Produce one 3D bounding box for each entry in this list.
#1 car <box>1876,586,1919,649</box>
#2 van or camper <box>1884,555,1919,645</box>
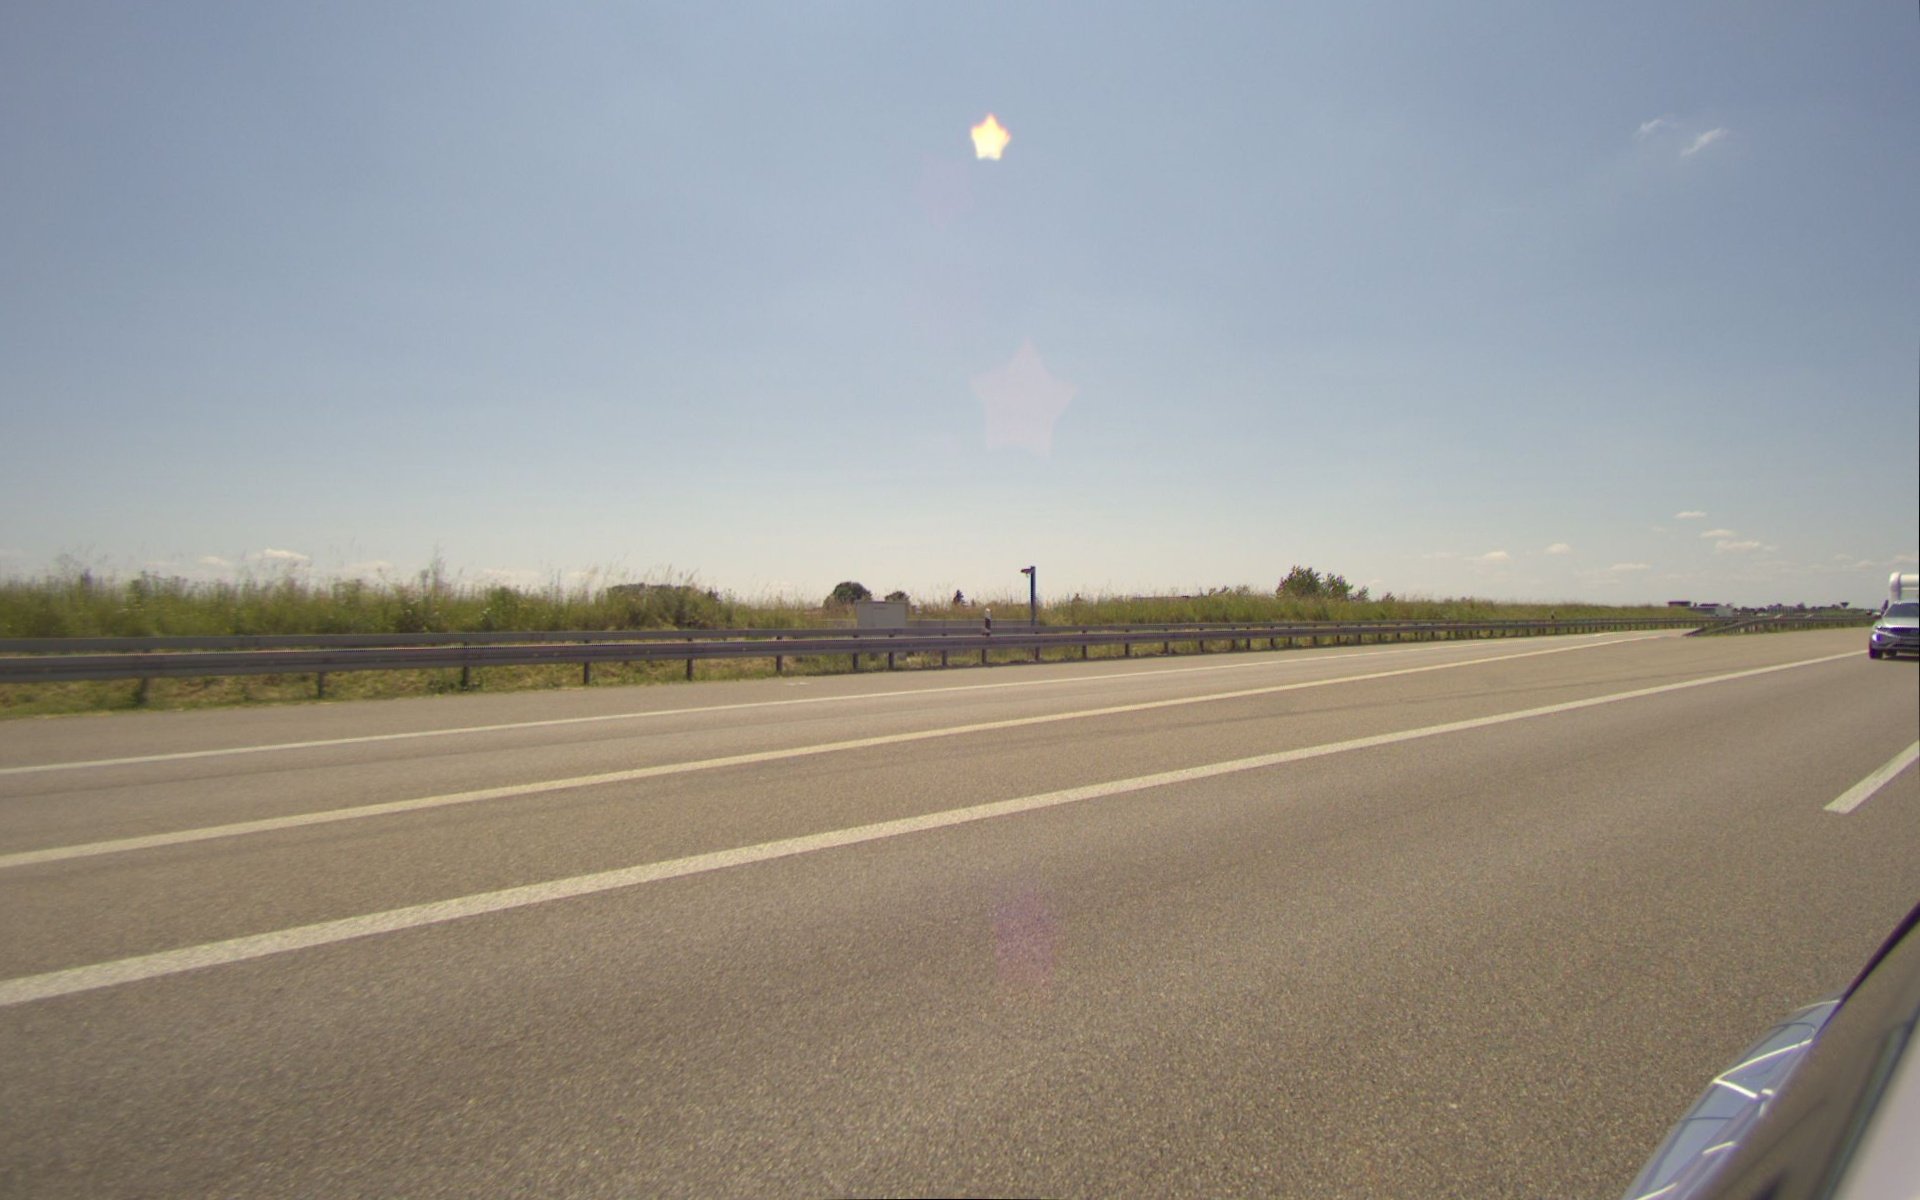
[{"bbox_3d":[26.635,0.482,27.591,4.817,1.643,1.884,1,-1,-41],"label":"car"},{"bbox_3d":[31.202,0.076,31.641,7.679,2.626,2.517,1,-1,-41],"label":"van or camper"}]
